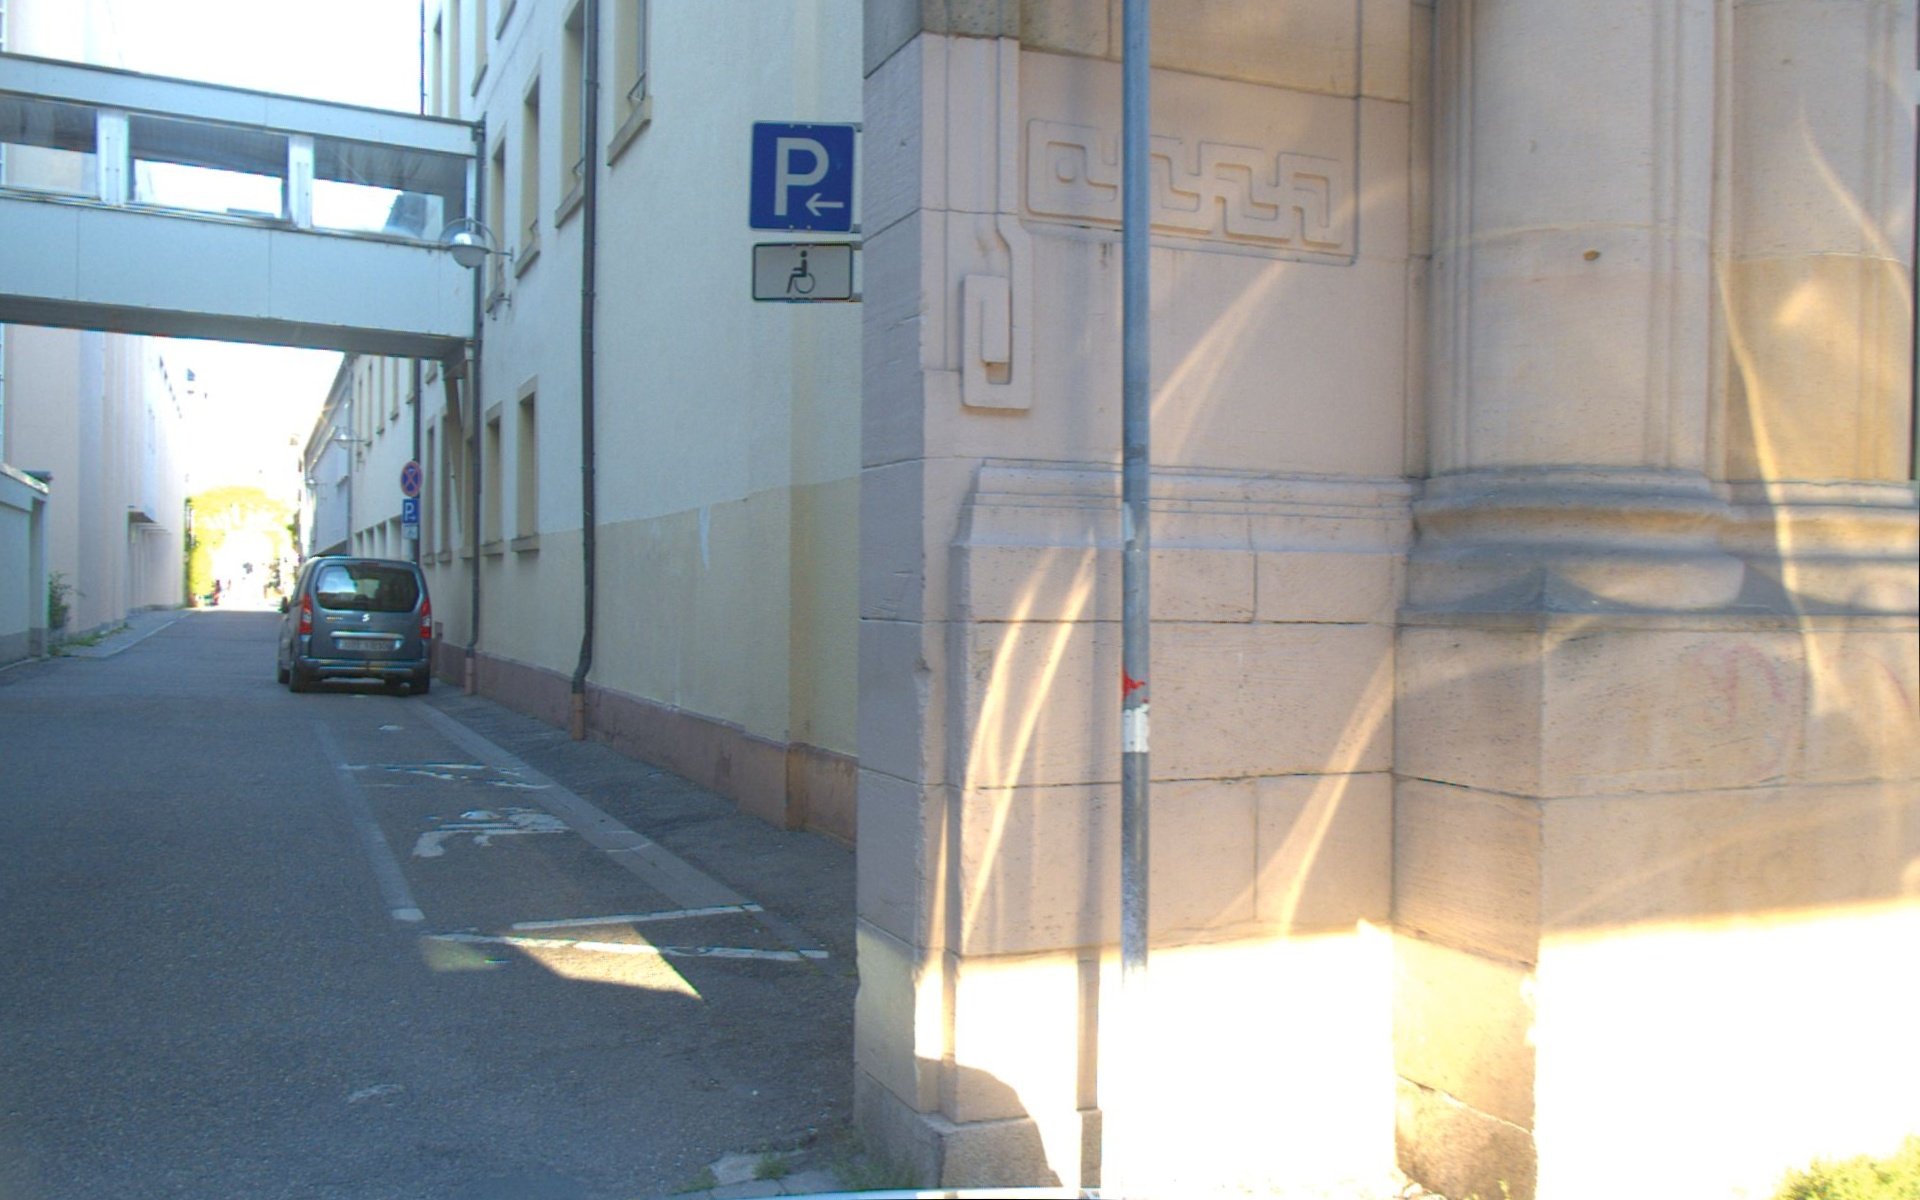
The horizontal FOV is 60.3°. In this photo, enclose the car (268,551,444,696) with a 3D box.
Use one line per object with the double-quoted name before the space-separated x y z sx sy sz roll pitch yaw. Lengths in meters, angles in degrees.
"car" -8.597 0.330 23.327 1.833 1.786 4.127 4 -2 -26
